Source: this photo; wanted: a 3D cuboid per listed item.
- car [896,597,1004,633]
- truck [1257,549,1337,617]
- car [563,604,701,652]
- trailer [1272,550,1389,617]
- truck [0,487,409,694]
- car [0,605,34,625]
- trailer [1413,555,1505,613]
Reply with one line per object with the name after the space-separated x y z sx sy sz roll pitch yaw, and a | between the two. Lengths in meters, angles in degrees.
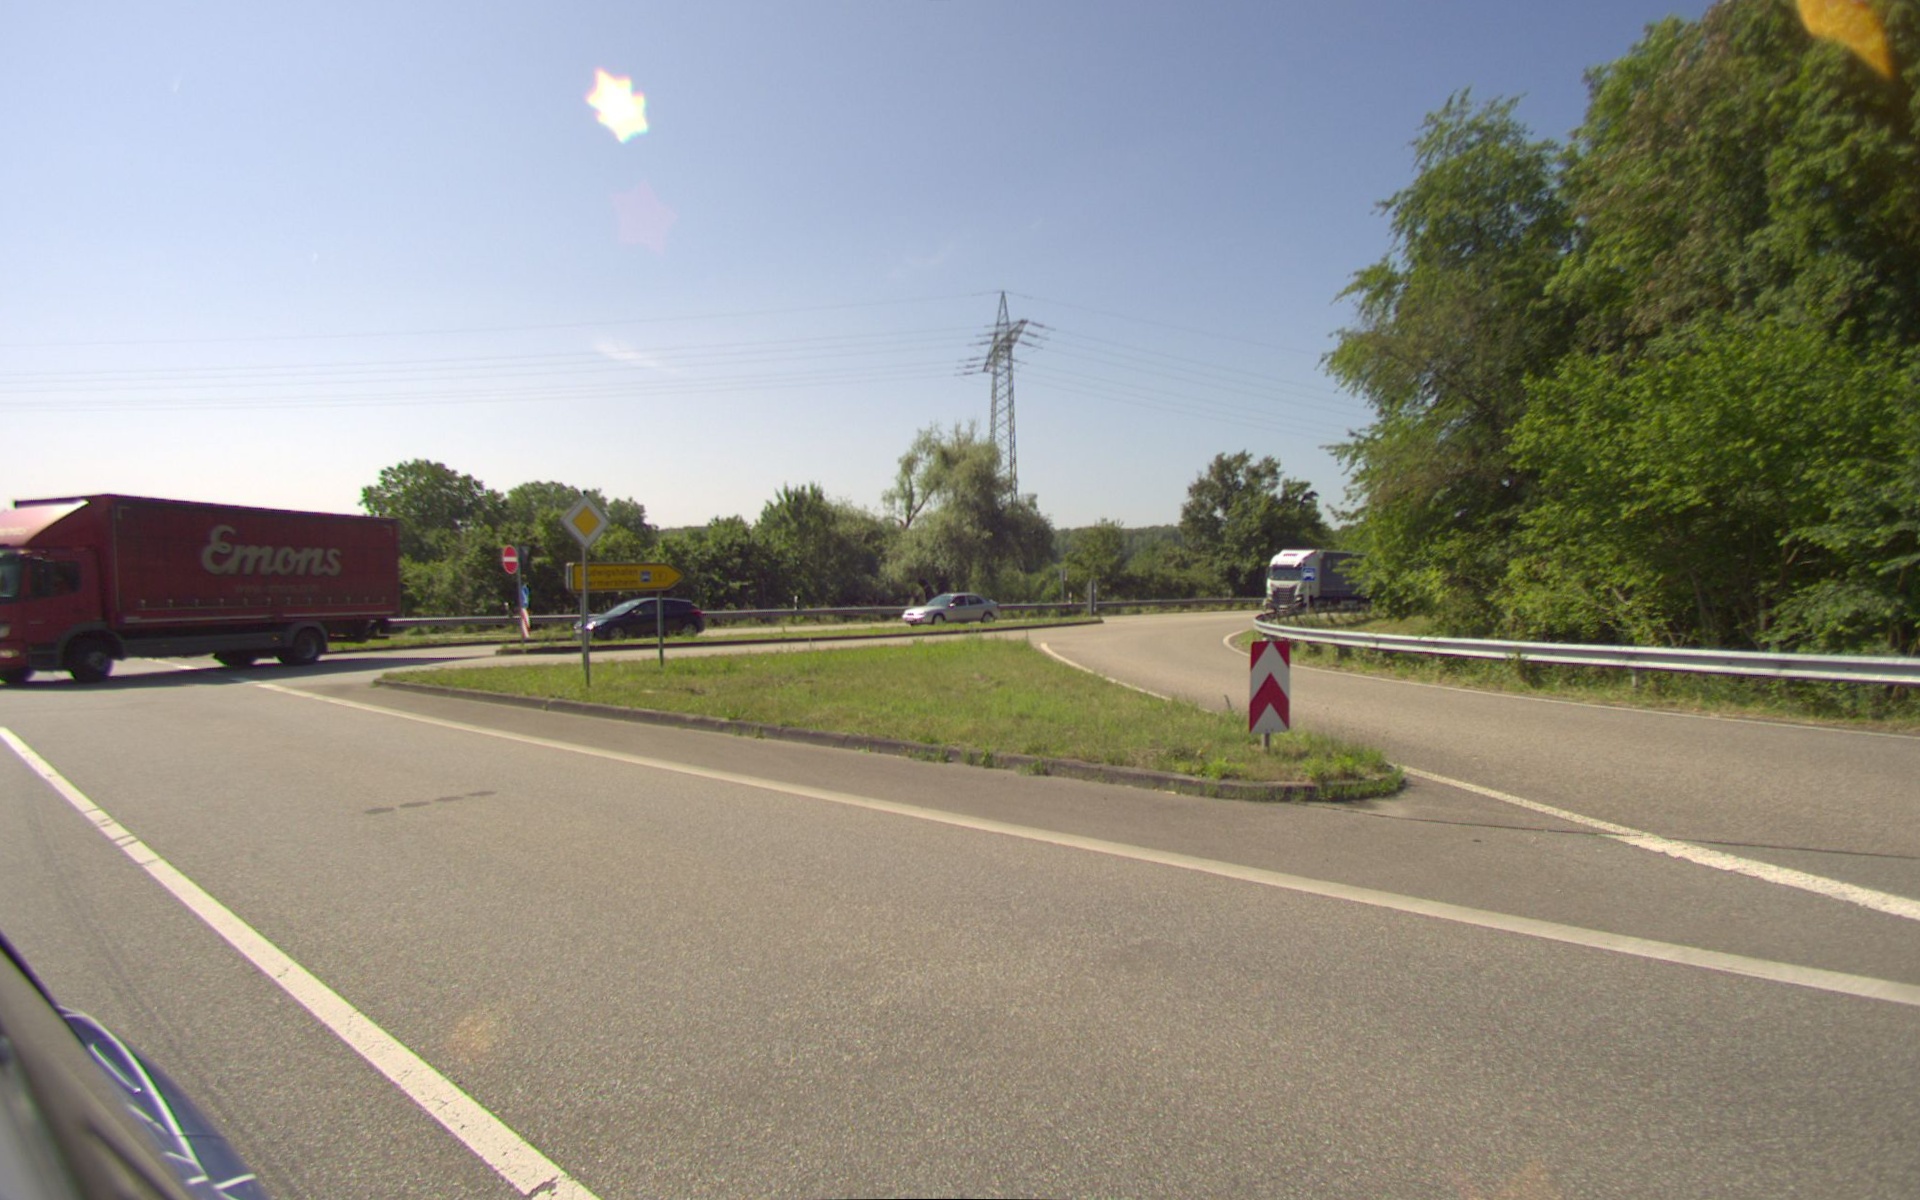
-0.393 0.590 42.516 4.308 1.395 1.792 -1 0 -38 | car
22.173 -1.130 66.510 2.940 4.269 5.654 2 2 41 | truck
-10.758 0.879 33.320 3.940 1.425 1.790 -1 0 -44 | car
26.333 -1.197 71.281 2.930 4.271 13.789 2 2 41 | trailer
-17.120 -0.193 22.743 2.667 3.689 9.215 -1 0 16 | truck
-93.887 1.483 100.648 1.967 1.893 5.006 -1 0 -35 | car
39.512 -1.203 79.691 2.896 4.197 13.787 -1 0 42 | trailer
